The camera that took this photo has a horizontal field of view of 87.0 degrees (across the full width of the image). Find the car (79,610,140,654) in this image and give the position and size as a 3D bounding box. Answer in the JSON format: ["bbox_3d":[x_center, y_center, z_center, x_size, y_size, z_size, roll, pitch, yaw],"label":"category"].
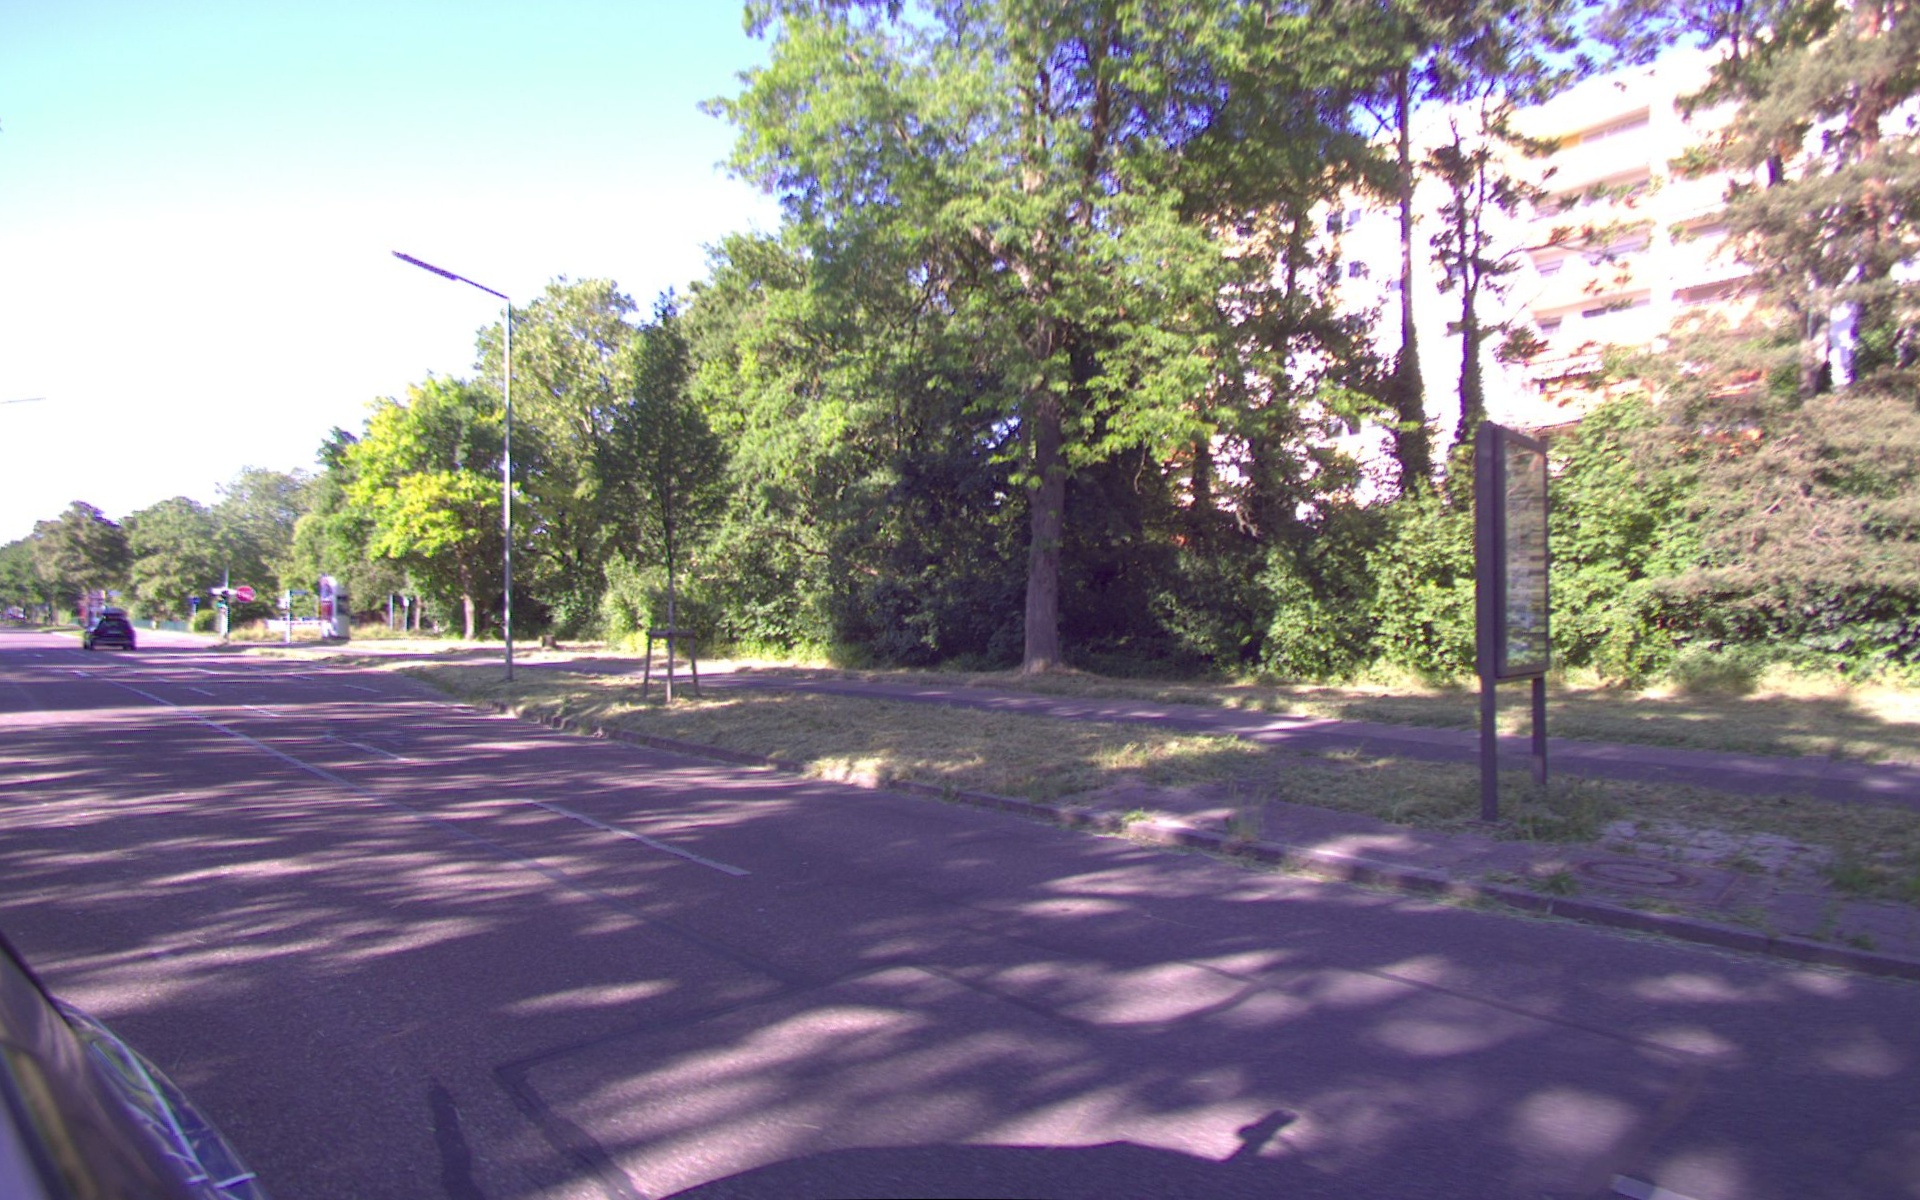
[{"bbox_3d":[-42.468,1.598,50.521,3.642,2.111,1.878,-1,-3,44],"label":"car"}]
